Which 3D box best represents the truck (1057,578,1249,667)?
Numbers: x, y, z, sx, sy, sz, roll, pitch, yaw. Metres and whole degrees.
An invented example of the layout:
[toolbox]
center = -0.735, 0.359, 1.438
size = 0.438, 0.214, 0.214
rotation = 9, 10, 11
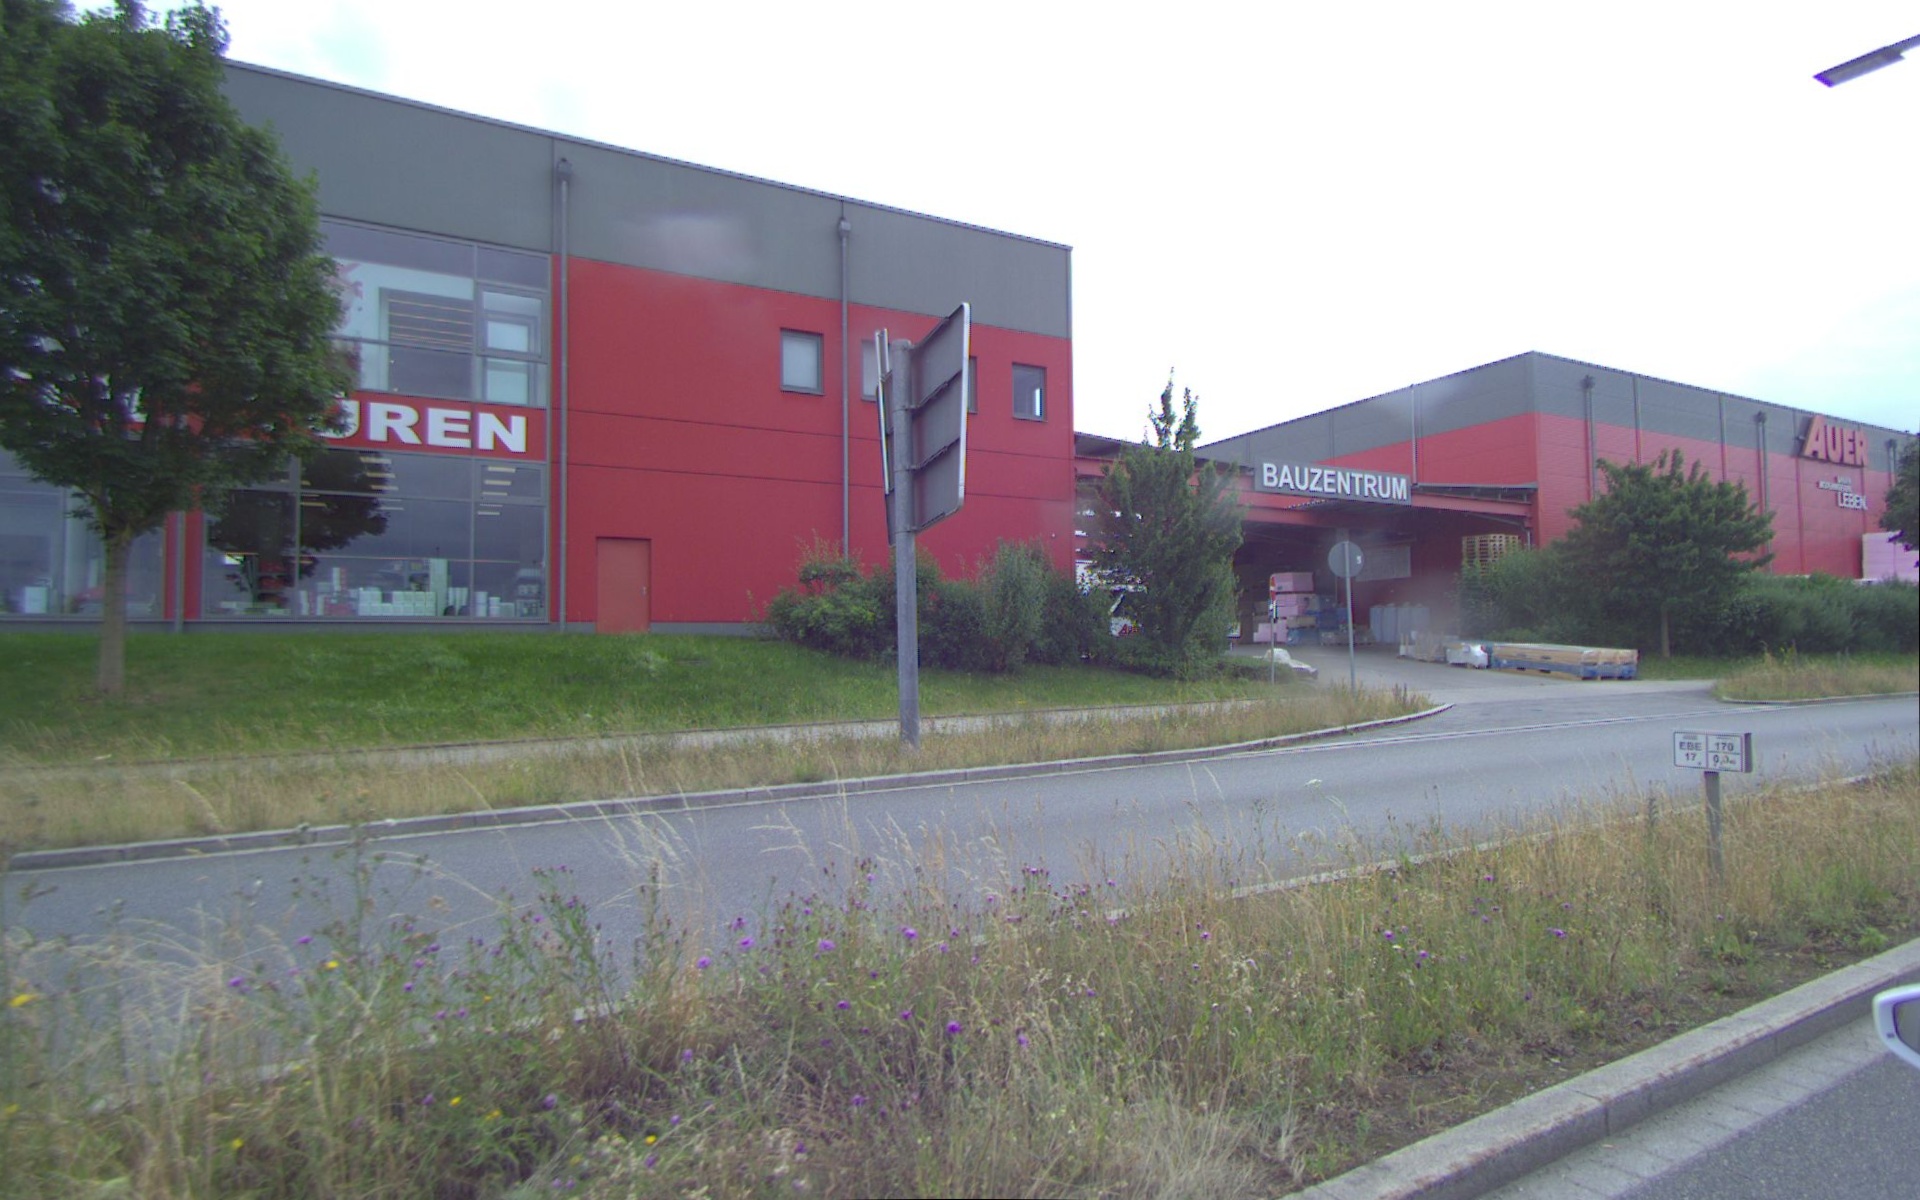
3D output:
[truck]
center = 6.025, 0.676, 31.144
size = 5.834, 2.521, 2.025
rotation = 1, 2, -28
